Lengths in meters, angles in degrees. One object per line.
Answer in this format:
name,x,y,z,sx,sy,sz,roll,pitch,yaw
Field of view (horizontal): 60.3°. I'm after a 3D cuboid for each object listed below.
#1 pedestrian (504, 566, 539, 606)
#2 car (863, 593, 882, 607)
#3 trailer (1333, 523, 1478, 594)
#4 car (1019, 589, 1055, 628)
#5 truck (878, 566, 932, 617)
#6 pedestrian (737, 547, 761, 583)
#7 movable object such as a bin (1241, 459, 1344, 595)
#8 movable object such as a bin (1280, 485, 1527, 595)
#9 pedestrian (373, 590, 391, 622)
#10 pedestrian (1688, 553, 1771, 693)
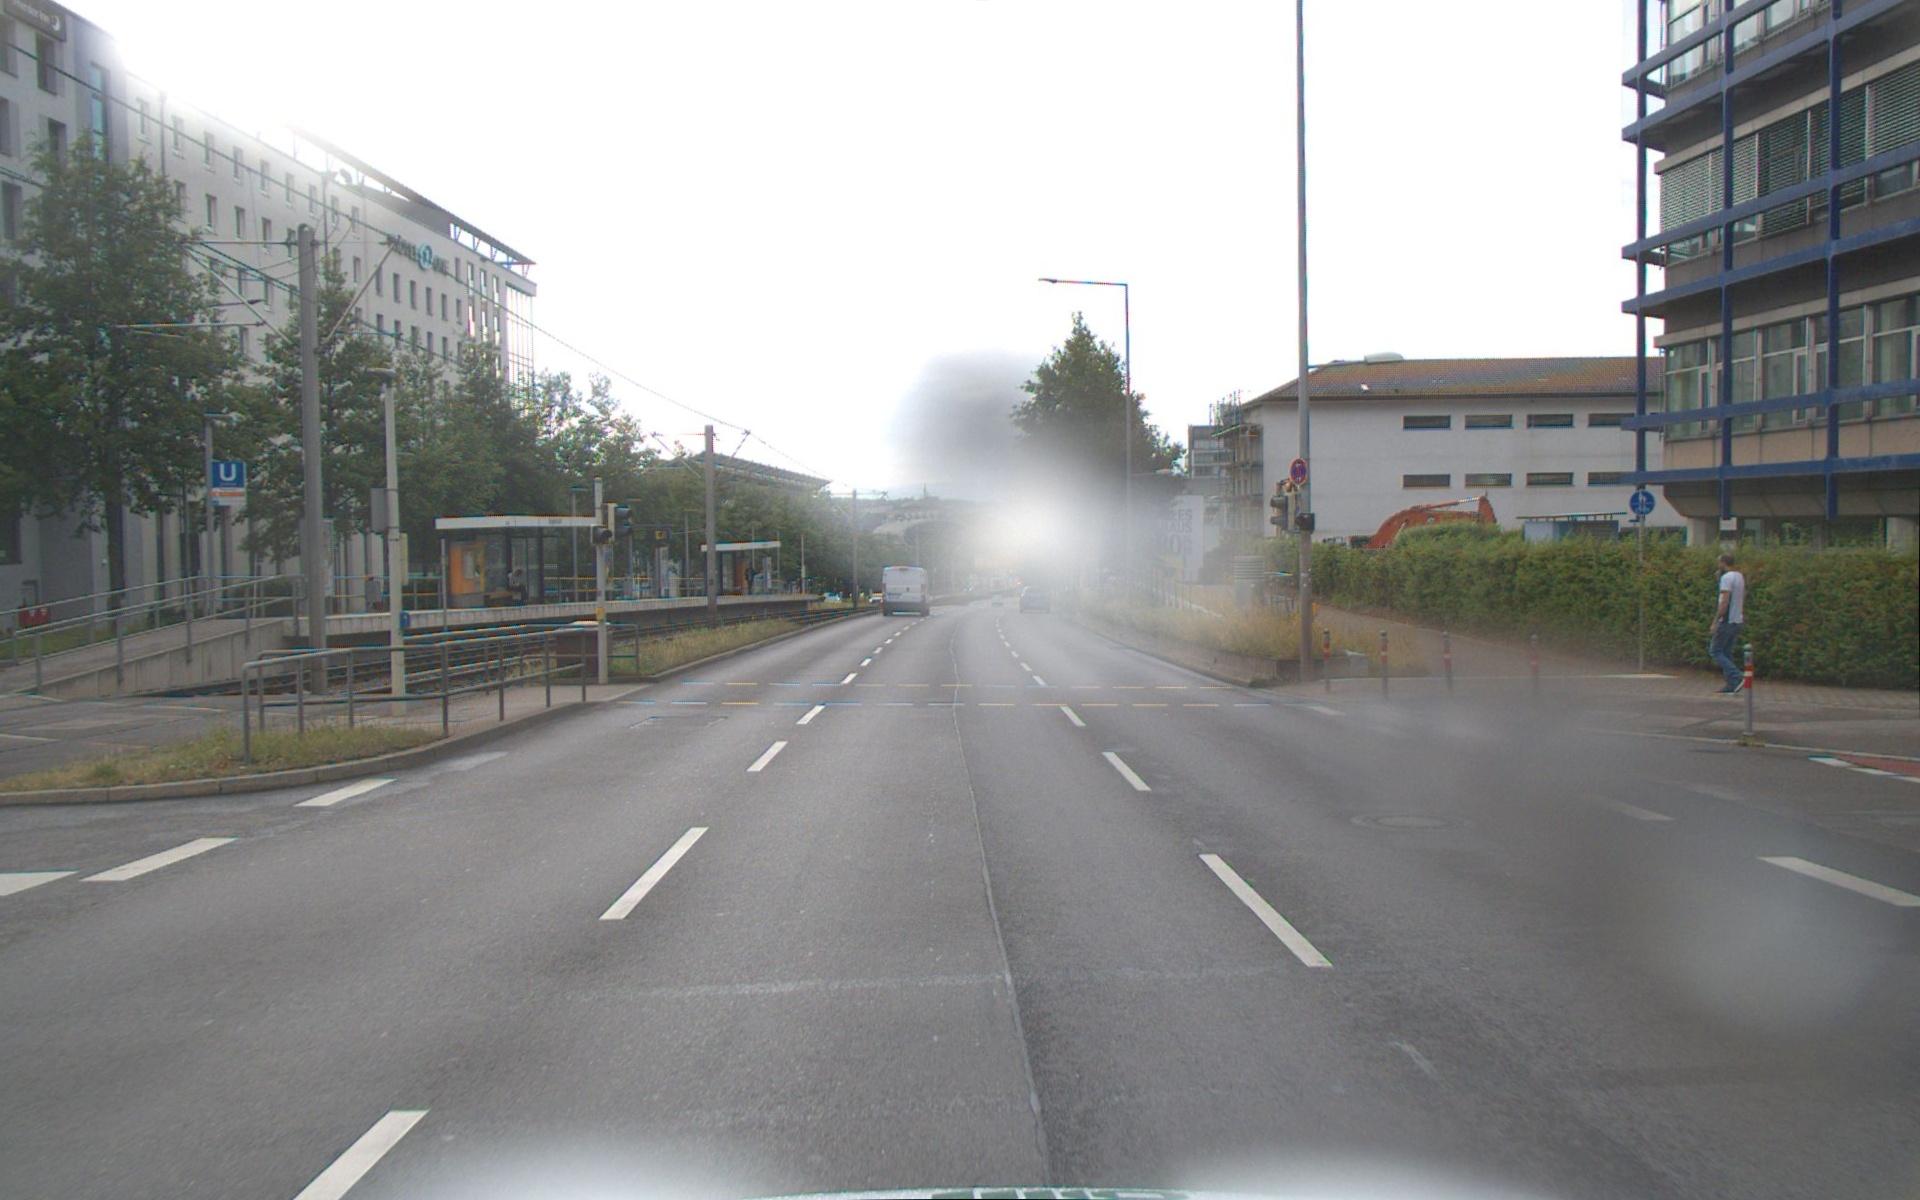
pedestrian,-14.628,-0.473,55.178,0.941,1.322,0.684,-1,1,1
car,-11.779,-0.010,223.062,1.952,1.879,5.004,-2,1,3
trailer,20.637,-1.847,77.084,2.601,3.096,7.449,1,0,-22
car,4.285,0.460,91.998,1.952,2.049,3.936,1,0,3
truck,-2.591,-0.379,79.015,2.311,2.301,5.306,1,0,1
pedestrian,-12.033,-1.991,94.247,1.245,2.049,1.126,1,0,-14
movable object such as a bin,15.107,-3.168,75.777,3.221,5.784,8.766,1,0,3
movable object such as a bin,23.096,-3.100,86.658,11.892,5.353,3.789,-1,0,0
pedestrian,-29.096,0.296,83.263,0.587,1.605,0.835,1,0,2
pedestrian,9.477,0.268,20.380,0.544,1.681,0.830,-1,0,-10
